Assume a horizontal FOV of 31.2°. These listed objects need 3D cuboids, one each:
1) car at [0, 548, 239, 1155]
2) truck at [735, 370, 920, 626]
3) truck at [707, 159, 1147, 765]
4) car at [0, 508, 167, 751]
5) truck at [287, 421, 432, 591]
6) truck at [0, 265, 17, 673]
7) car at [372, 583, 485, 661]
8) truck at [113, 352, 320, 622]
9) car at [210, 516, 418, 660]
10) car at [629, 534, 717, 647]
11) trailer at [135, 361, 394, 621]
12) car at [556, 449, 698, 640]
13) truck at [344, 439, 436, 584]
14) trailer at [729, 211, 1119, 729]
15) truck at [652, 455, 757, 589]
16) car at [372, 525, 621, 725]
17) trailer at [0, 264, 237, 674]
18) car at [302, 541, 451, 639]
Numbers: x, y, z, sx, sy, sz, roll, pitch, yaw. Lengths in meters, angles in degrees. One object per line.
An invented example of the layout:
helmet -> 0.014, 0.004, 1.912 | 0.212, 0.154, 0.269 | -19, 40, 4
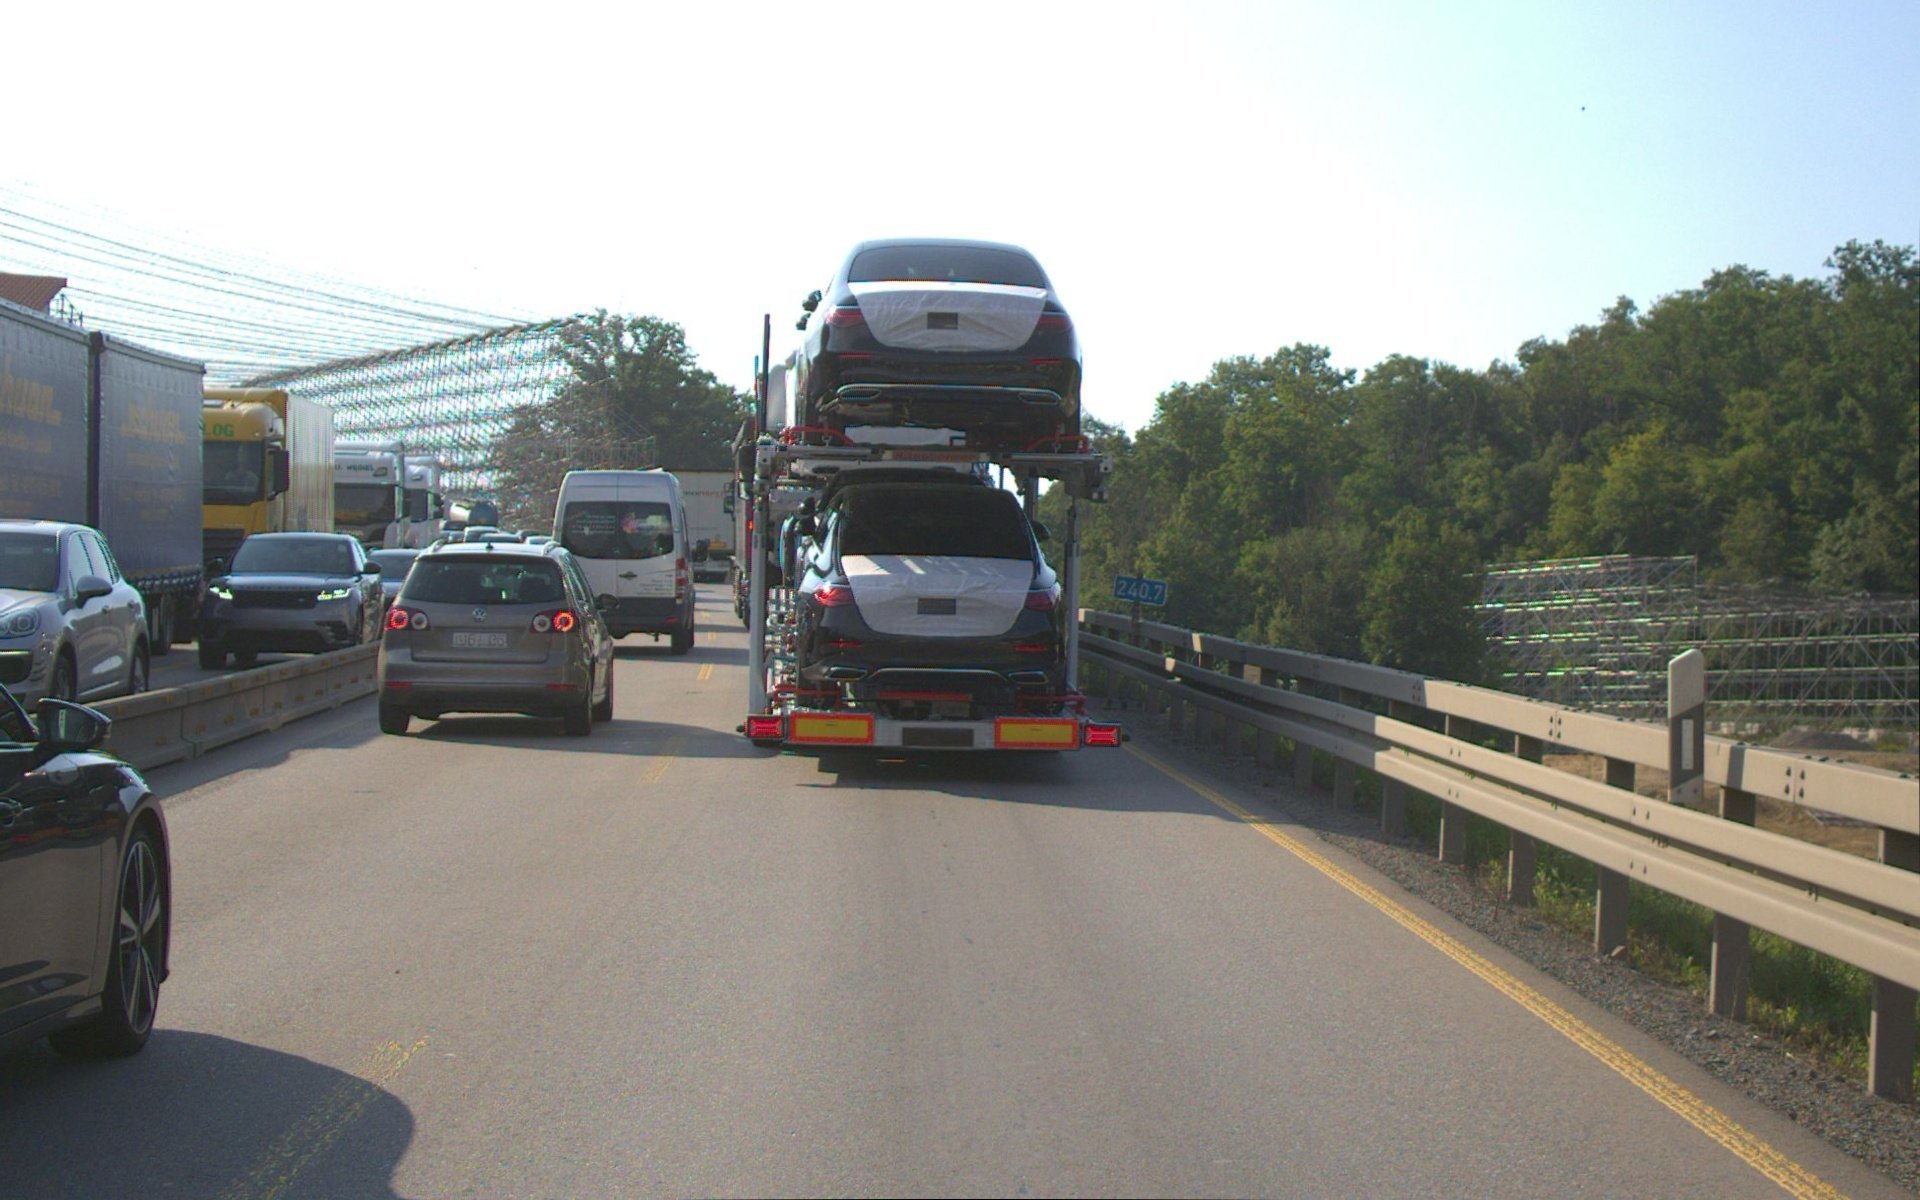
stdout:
car -> -3.308, 0.614, 8.615 | 1.940, 1.475, 5.222 | 0, 0, 0
truck -> -2.822, -2.020, 69.141 | 3.227, 4.661, 11.697 | 1, 1, -4
truck -> -0.258, -0.909, 25.469 | 2.870, 3.966, 5.771 | 0, 0, -1
car -> -7.362, 0.194, 25.665 | 1.959, 1.639, 4.849 | 0, 0, -3
truck -> -15.266, -2.239, 88.257 | 2.808, 3.956, 13.896 | 0, 0, -6
truck -> -10.928, -1.326, 32.475 | 2.701, 4.126, 5.795 | 0, 0, -3
car -> -10.343, 0.415, 67.133 | 1.797, 1.448, 4.616 | 0, 0, -4
truck -> -11.980, -1.761, 55.744 | 2.693, 4.182, 4.399 | 0, 0, -5
car -> -8.025, -0.144, 43.078 | 1.927, 1.696, 4.692 | 0, 0, -3
car -> -5.494, -0.179, 65.537 | 1.528, 2.007, 4.001 | 3, 0, -5
trailer -> -12.580, -1.770, 63.684 | 2.701, 4.189, 15.999 | 0, 0, -4
car -> -4.847, -0.780, 50.488 | 1.979, 2.675, 4.147 | 0, 0, -4
truck -> -17.273, -2.619, 104.422 | 2.443, 4.257, 6.323 | 0, 0, -7
trailer -> -0.780, -1.004, 34.217 | 2.874, 3.980, 15.281 | 0, 0, -4
truck -> -9.463, -2.909, 127.221 | 3.647, 4.661, 11.697 | 1, 1, -4
car -> -3.888, 0.195, 29.393 | 1.700, 1.581, 4.147 | 0, 0, -2
trailer -> -11.387, -1.326, 41.331 | 2.714, 4.120, 16.754 | 0, 0, -3
car -> -9.282, -0.151, 54.994 | 1.788, 1.492, 4.725 | 0, 0, -3
